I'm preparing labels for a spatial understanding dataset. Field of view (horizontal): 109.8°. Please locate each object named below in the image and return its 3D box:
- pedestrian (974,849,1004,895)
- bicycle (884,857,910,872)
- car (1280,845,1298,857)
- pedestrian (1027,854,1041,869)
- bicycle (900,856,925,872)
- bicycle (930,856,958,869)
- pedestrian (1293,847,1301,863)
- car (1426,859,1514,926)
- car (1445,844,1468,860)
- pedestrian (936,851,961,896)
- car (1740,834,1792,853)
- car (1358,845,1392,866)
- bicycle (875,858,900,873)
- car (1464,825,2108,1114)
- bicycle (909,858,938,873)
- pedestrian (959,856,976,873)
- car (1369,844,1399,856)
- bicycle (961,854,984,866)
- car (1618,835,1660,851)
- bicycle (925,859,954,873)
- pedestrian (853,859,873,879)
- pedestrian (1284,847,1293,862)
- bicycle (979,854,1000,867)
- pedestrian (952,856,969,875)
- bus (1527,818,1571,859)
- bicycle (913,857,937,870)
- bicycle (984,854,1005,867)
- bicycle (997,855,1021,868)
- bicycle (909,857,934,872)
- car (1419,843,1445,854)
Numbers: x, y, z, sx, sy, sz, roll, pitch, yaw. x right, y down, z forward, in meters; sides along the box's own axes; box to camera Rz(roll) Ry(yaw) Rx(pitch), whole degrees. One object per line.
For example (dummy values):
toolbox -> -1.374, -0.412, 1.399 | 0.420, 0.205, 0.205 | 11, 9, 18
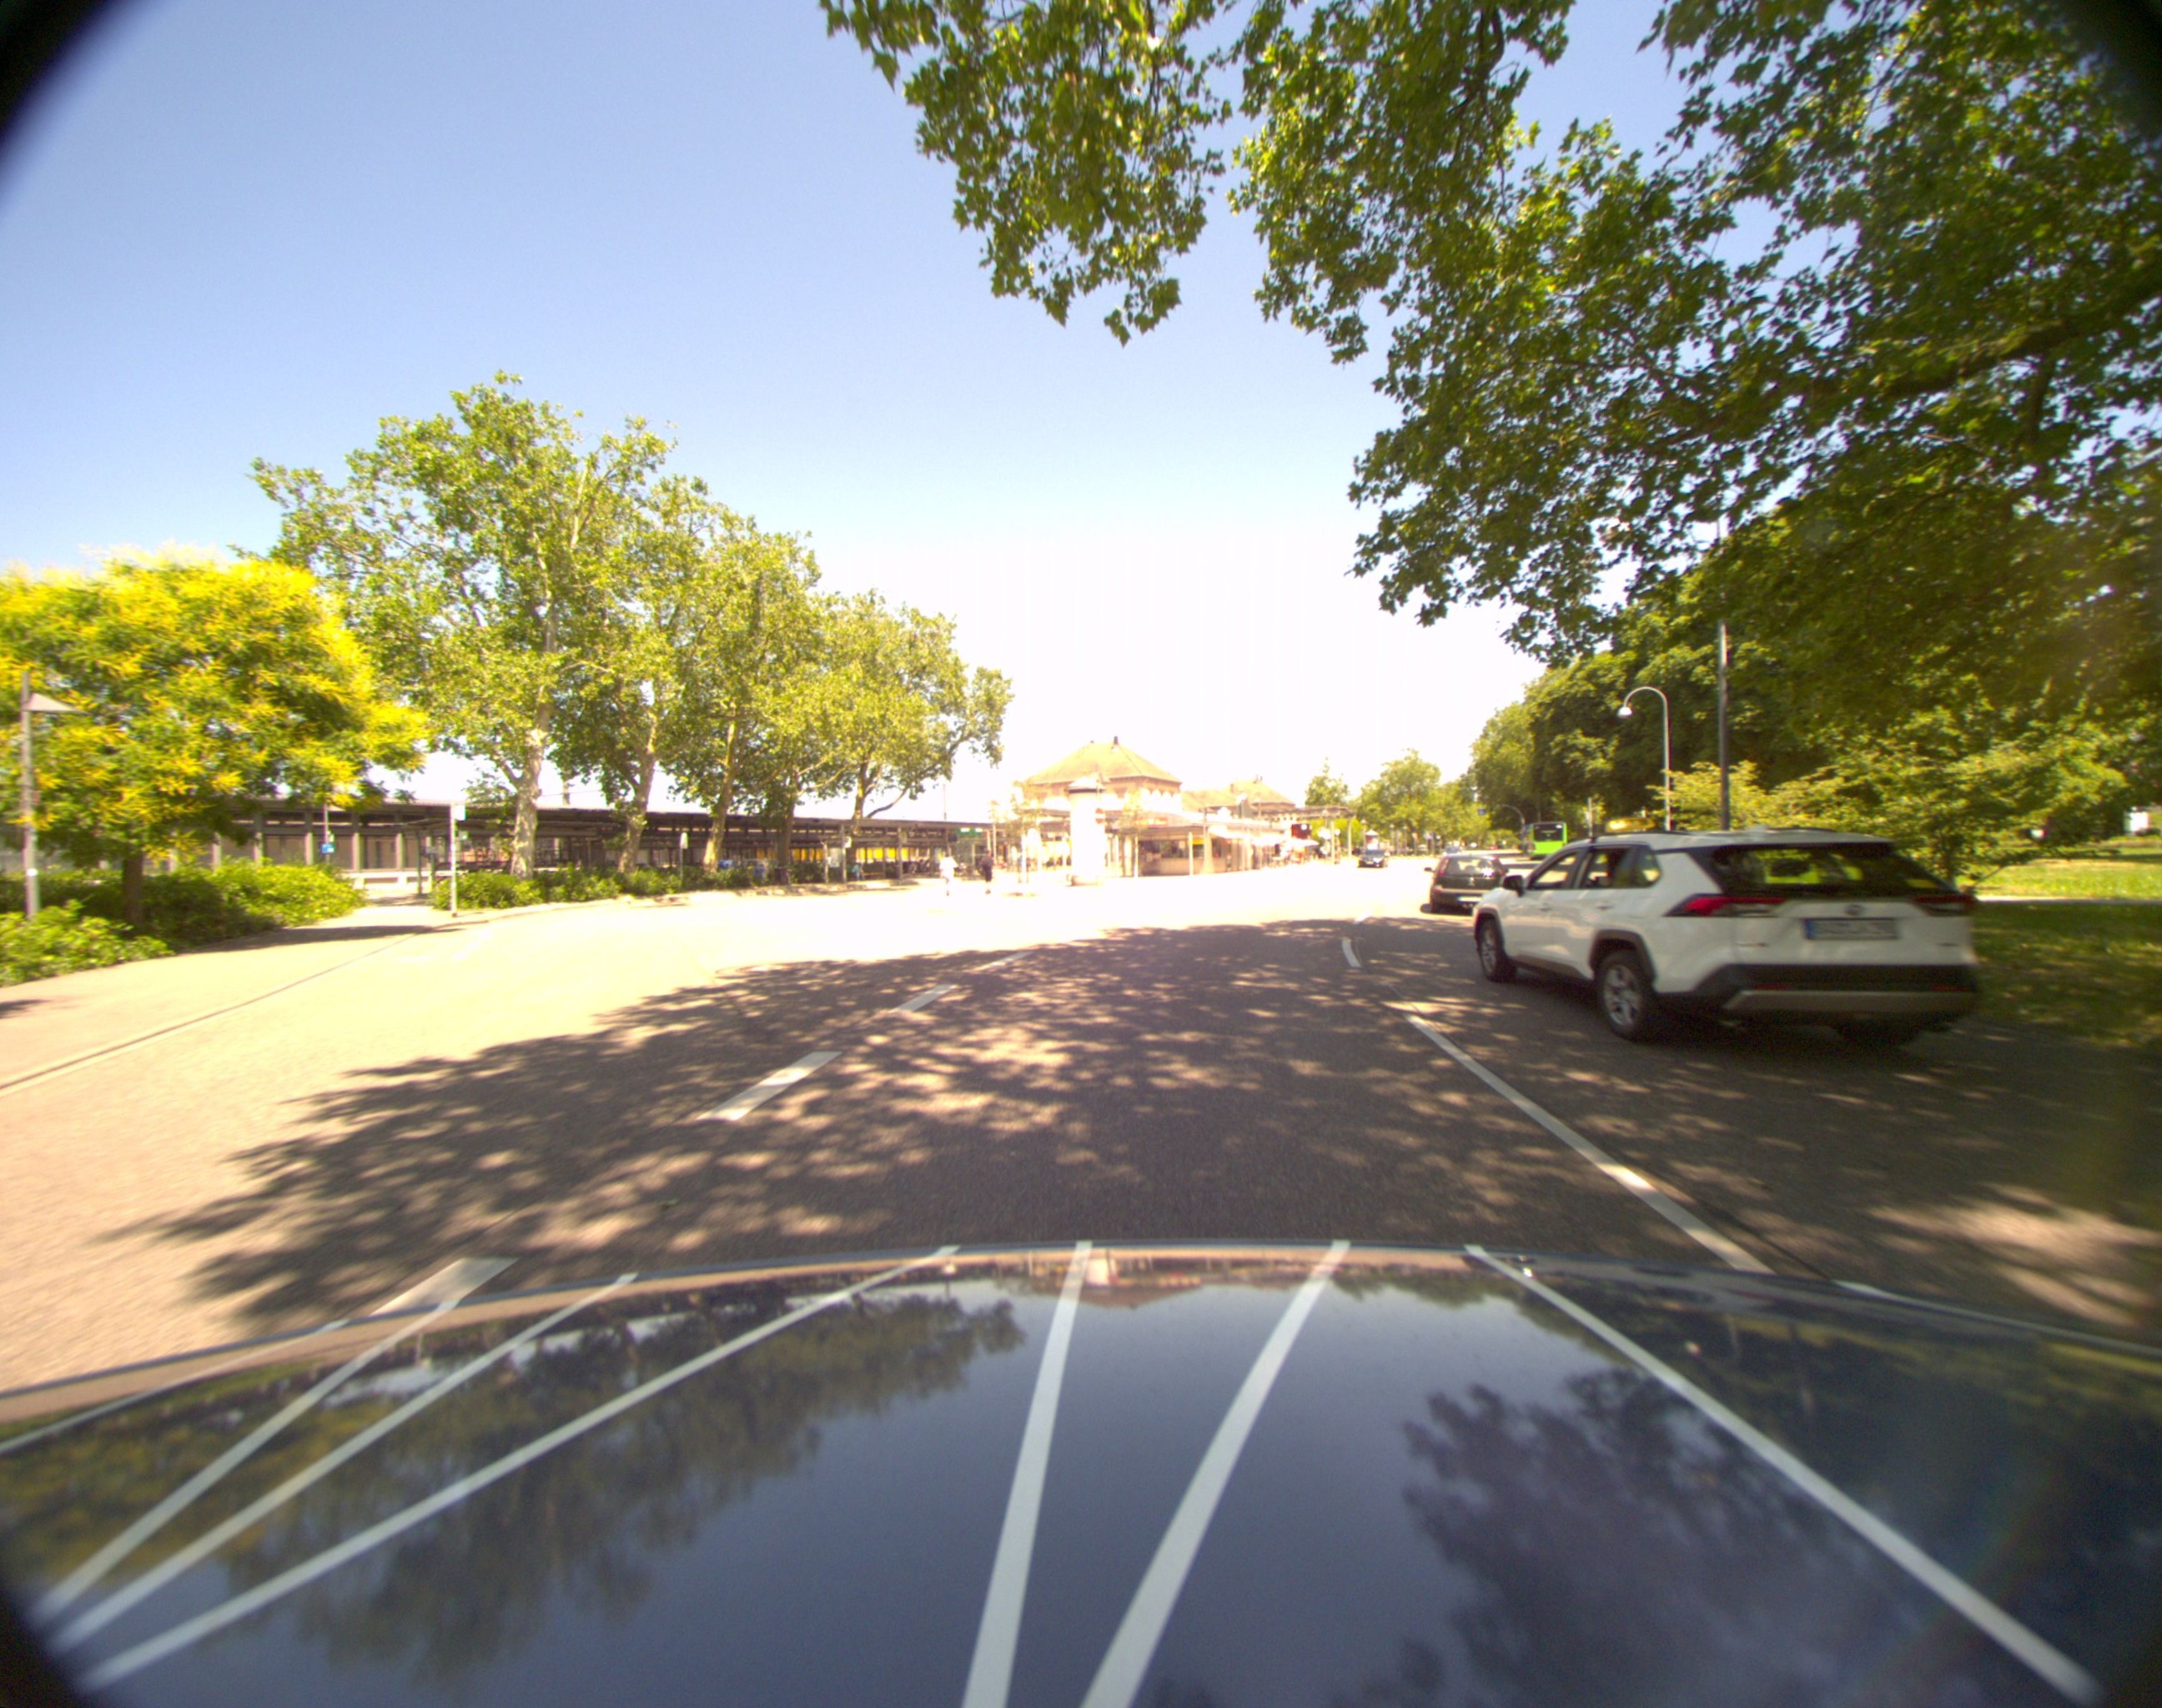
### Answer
pedestrian -> -3.638, 0.709, 30.010 | 0.693, 1.775, 0.917 | -1, 1, 43
bicycle -> -15.341, 0.866, 63.516 | 0.668, 1.068, 2.173 | 1, 5, 33
car -> 34.937, -0.506, 127.467 | 1.995, 1.869, 4.007 | -1, 0, 30
pedestrian -> -4.105, 0.630, 66.409 | 0.960, 1.297, 0.832 | -1, 1, 31
bicycle -> -13.879, 0.810, 62.671 | 0.668, 1.068, 2.173 | 1, 5, 33
bicycle -> -11.961, 0.716, 66.388 | 2.166, 1.068, 0.864 | -1, 4, 12
pedestrian -> 16.884, 0.044, 59.465 | 0.502, 1.225, 0.514 | -1, 1, 24
car -> 9.383, 0.841, 18.588 | 1.642, 1.409, 4.007 | 0, 0, 23
car -> 38.606, -0.222, 78.067 | 1.774, 1.536, 4.190 | 1, 1, 30
pedestrian -> -5.160, 0.752, 29.607 | 0.915, 1.726, 0.675 | -2, 1, -9
car -> 77.214, -1.202, 85.702 | 3.989, 2.002, 2.004 | -1, 1, 30
car -> 22.435, 0.087, 57.911 | 1.774, 1.536, 4.190 | 1, 1, 30
bicycle -> -16.329, 0.999, 64.190 | 0.668, 1.068, 2.173 | 1, 5, 33
car -> 5.366, 0.694, 6.819 | 2.047, 1.737, 4.325 | 0, 0, 6
bicycle -> -11.972, 0.887, 57.704 | 2.164, 1.068, 0.671 | 0, 5, 27
pedestrian -> -8.727, 0.819, 58.362 | 0.960, 1.297, 0.832 | -1, 1, 31
car -> 46.086, -0.653, 115.472 | 3.990, 1.655, 2.003 | -1, 1, 26
bicycle -> -10.260, 0.582, 71.752 | 2.163, 1.068, 0.671 | 1, 5, 34
car -> 67.405, -1.272, 91.848 | 3.989, 1.793, 2.004 | -1, 1, 32
bicycle -> -11.039, 0.927, 59.227 | 2.164, 1.068, 0.671 | 0, 5, 27
pedestrian -> -14.045, 0.967, 48.870 | 0.829, 1.267, 0.869 | -1, 1, 26
pedestrian -> 16.341, 0.050, 59.778 | 0.489, 1.204, 0.473 | -1, 1, 43
bicycle -> -8.598, 0.606, 71.408 | 0.668, 1.068, 2.173 | 1, 5, 33
pedestrian -> -9.126, 0.856, 57.552 | 0.960, 1.378, 0.832 | -1, 1, 31
bus -> 42.182, -1.392, 68.687 | 2.809, 3.283, 11.878 | -1, 0, 29
bicycle -> -13.898, 0.876, 67.688 | 2.163, 1.068, 0.671 | 1, 5, 34
bicycle -> -8.042, 0.570, 70.952 | 0.668, 1.068, 2.173 | 1, 5, 33
bicycle -> -6.435, 0.652, 68.096 | 2.163, 1.068, 0.671 | 1, 5, 34
bicycle -> -13.031, 0.837, 62.103 | 0.668, 1.068, 2.173 | 1, 5, 33
car -> 59.825, -0.971, 129.620 | 3.990, 1.655, 2.003 | -2, 0, 23
